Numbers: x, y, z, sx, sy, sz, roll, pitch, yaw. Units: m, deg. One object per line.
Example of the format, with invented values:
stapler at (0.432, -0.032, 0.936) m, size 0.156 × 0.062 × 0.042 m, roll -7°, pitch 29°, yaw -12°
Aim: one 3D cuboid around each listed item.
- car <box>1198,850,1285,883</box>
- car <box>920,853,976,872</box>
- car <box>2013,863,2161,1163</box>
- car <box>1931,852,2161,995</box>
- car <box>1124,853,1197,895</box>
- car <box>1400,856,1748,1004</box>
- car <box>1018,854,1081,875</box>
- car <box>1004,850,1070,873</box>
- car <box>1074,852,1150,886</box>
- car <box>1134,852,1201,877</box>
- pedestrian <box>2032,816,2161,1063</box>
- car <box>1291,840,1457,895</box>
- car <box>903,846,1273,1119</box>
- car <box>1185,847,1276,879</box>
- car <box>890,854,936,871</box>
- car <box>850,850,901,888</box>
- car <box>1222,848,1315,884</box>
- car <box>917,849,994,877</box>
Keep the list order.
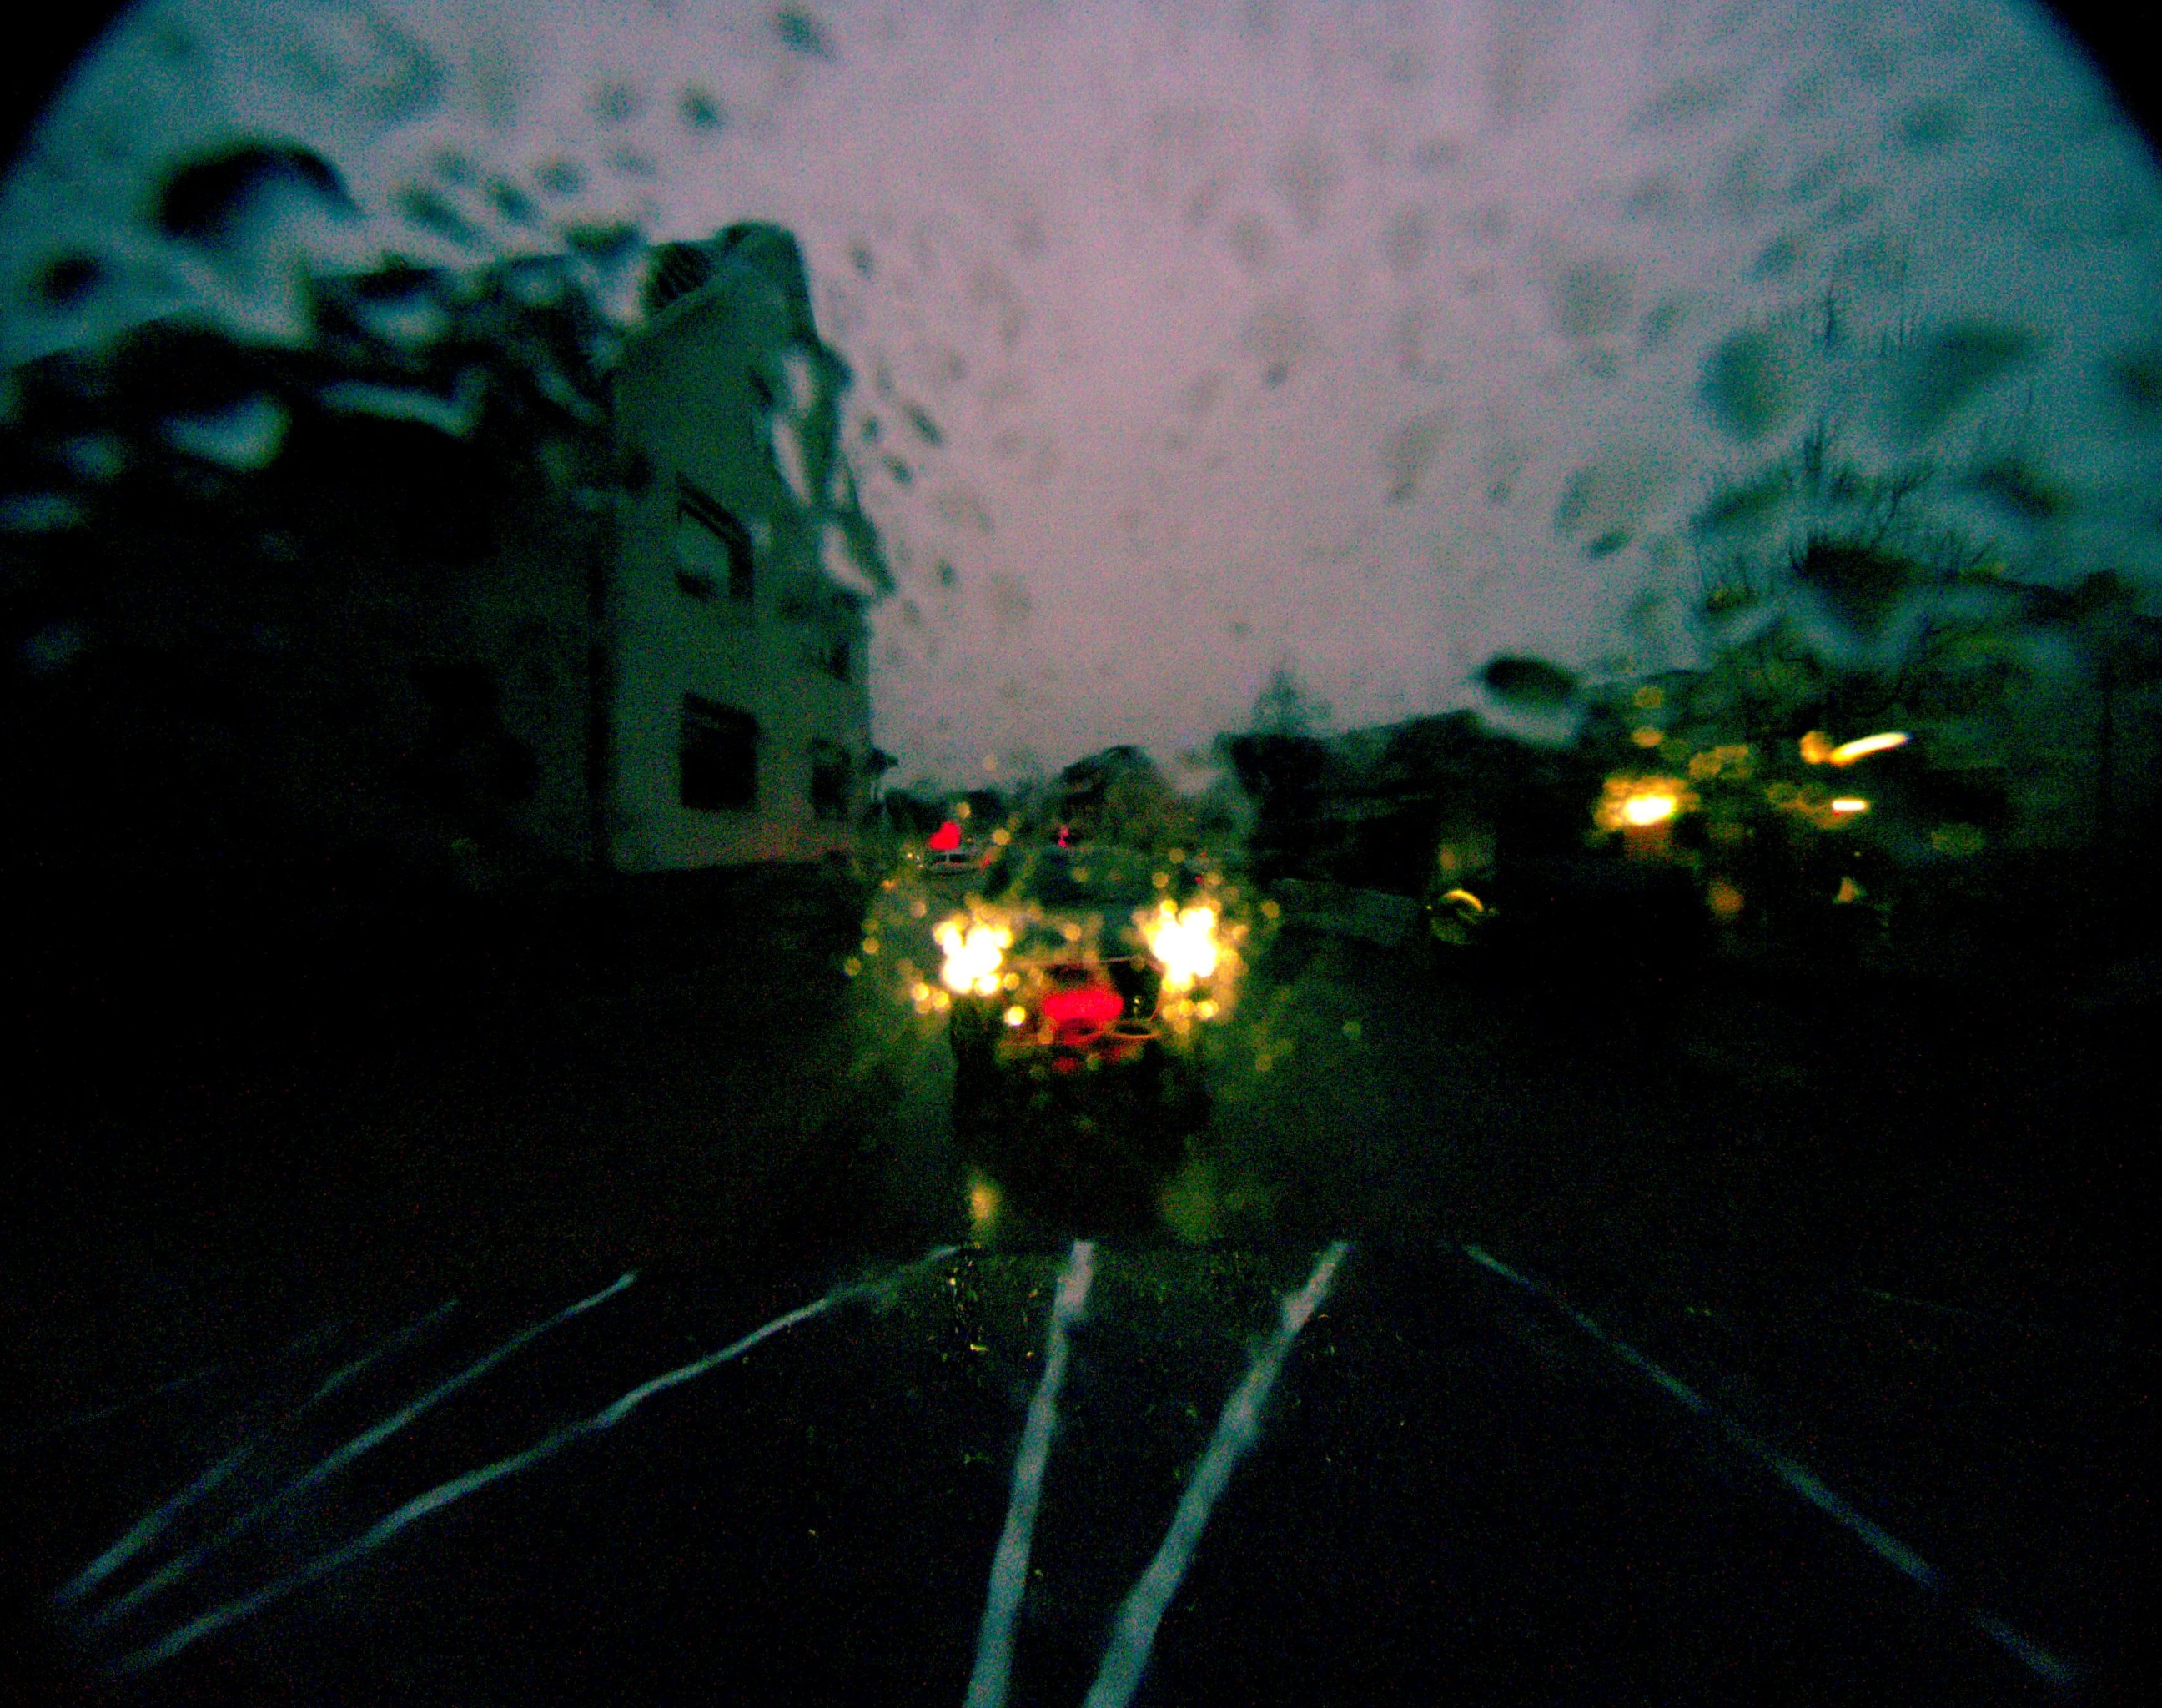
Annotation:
car at (7.872, 0.584, 37.634) m, size 4.107 × 1.573 × 1.722 m, roll 0°, pitch 1°, yaw 9°
car at (-12.810, 0.796, 73.025) m, size 4.888 × 1.674 × 1.996 m, roll -1°, pitch -1°, yaw -28°
car at (6.457, 0.821, 2.657) m, size 1.697 × 1.507 × 3.772 m, roll -2°, pitch 0°, yaw -2°
car at (12.484, 0.721, 8.180) m, size 4.078 × 1.468 × 1.742 m, roll 0°, pitch 0°, yaw 23°
car at (3.174, 0.771, 30.973) m, size 1.840 × 1.527 × 3.671 m, roll -2°, pitch 1°, yaw -13°
car at (6.196, 0.816, 10.323) m, size 1.751 × 1.464 × 4.457 m, roll -2°, pitch 0°, yaw -1°
car at (-2.576, 0.901, 62.136) m, size 4.775 × 1.625 × 1.997 m, roll 1°, pitch -1°, yaw -21°
car at (-3.315, 0.565, 57.324) m, size 4.456 × 1.623 × 2.150 m, roll -1°, pitch 1°, yaw -29°
car at (1.455, 0.732, 37.276) m, size 1.913 × 1.524 × 4.247 m, roll -2°, pitch 0°, yaw -26°
car at (5.340, 0.643, 47.146) m, size 4.069 × 1.451 × 1.758 m, roll -1°, pitch 1°, yaw 4°
pedestrian at (8.476, 0.636, 5.937) m, size 0.755 × 1.856 × 1.060 m, roll -1°, pitch 1°, yaw 1°
car at (10.402, 0.444, 27.461) m, size 5.387 × 1.874 × 2.076 m, roll 0°, pitch 0°, yaw 16°
car at (-0.062, 0.777, 7.259) m, size 2.270 × 1.633 × 5.064 m, roll -1°, pitch 0°, yaw -3°
car at (7.885, 0.484, 40.436) m, size 4.649 × 1.644 × 1.989 m, roll 0°, pitch 1°, yaw 9°
car at (-17.981, 0.891, 81.213) m, size 4.435 × 1.790 × 1.840 m, roll -1°, pitch 0°, yaw -30°
car at (-11.361, 0.794, 41.732) m, size 1.982 × 1.948 × 4.842 m, roll -1°, pitch 0°, yaw -23°
car at (8.533, 0.556, 34.794) m, size 3.993 × 1.521 × 2.002 m, roll -1°, pitch 0°, yaw 13°
car at (-9.832, 0.703, 59.466) m, size 5.780 × 1.934 × 1.989 m, roll -2°, pitch 0°, yaw -10°
